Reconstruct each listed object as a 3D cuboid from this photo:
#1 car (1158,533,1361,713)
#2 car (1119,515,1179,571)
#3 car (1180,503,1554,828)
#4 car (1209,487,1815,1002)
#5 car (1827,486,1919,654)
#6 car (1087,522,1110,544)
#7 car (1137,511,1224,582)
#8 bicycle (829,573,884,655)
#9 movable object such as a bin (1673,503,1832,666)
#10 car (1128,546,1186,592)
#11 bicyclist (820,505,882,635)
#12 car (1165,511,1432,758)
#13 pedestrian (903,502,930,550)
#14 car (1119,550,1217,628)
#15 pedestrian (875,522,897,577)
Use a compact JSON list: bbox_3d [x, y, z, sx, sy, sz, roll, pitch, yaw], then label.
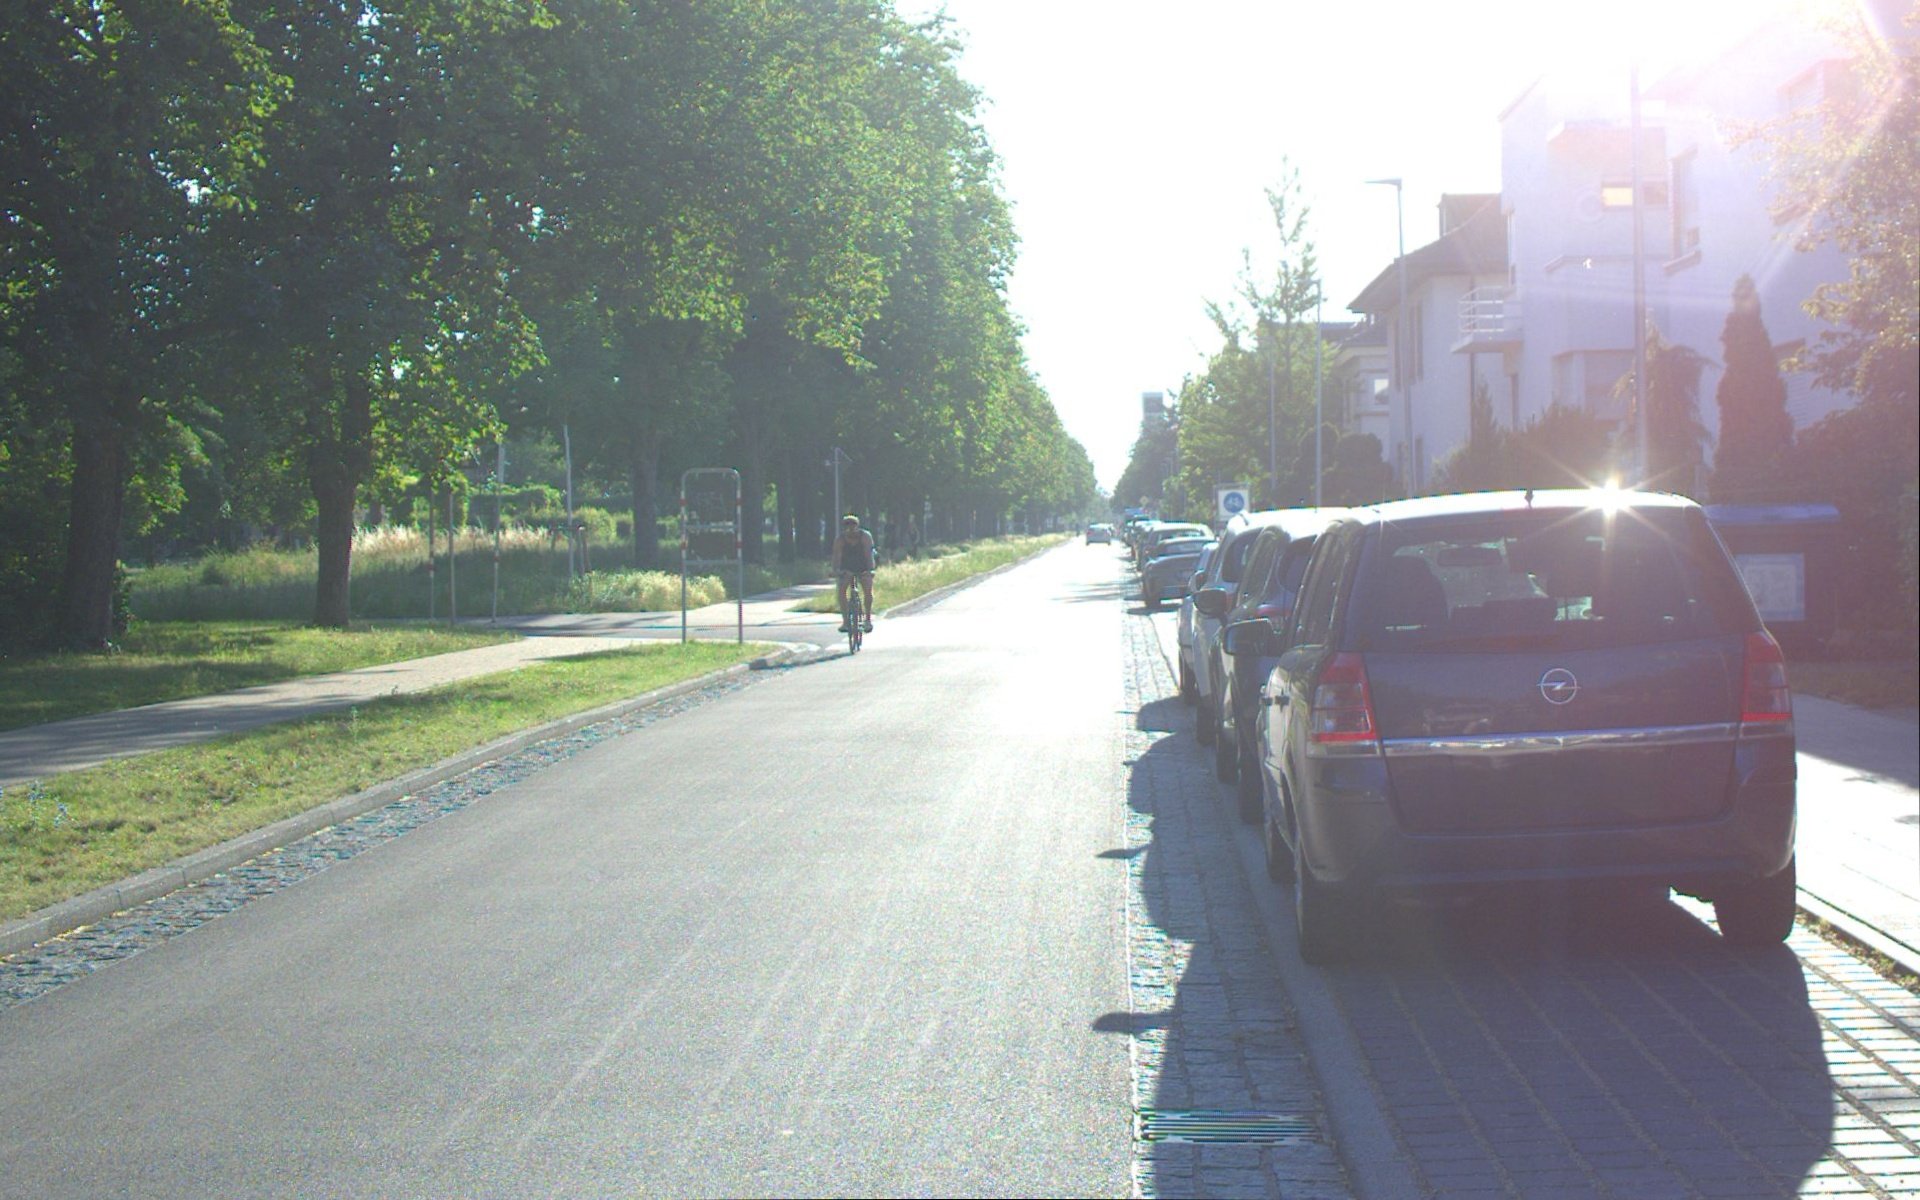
[{"bbox_3d":[2.547,0.146,29.975,1.564,1.385,4.374,-2,1,3],"label":"car"},{"bbox_3d":[5.444,-1.649,98.696,1.628,1.499,3.633,-3,2,3],"label":"car"},{"bbox_3d":[2.146,0.281,19.076,1.679,1.550,4.144,-2,1,2],"label":"car"},{"bbox_3d":[1.955,0.423,13.318,1.710,1.605,4.169,-3,1,2],"label":"car"},{"bbox_3d":[10.435,-0.309,34.042,3.495,1.636,1.642,0,1,11],"label":"car"},{"bbox_3d":[9.904,-4.813,245.626,1.652,1.536,3.266,0,1,3],"label":"car"},{"bbox_3d":[4.995,-1.237,78.188,1.744,1.469,3.922,-4,1,2],"label":"car"},{"bbox_3d":[-1.350,0.169,45.131,0.556,1.028,1.915,-2,1,2],"label":"bicycle"},{"bbox_3d":[7.101,-0.144,30.861,1.237,1.427,1.123,0,1,5],"label":"movable object such as a bin"},{"bbox_3d":[6.543,-1.040,114.688,1.736,1.444,4.197,-2,1,1],"label":"car"},{"bbox_3d":[-1.422,-0.393,45.099,0.681,1.667,1.172,-2,0,2],"label":"bicyclist"},{"bbox_3d":[2.339,0.179,24.474,1.679,1.550,4.130,-2,1,4],"label":"car"},{"bbox_3d":[-1.446,-2.480,115.267,0.783,1.609,0.951,0,1,6],"label":"pedestrian"},{"bbox_3d":[4.036,-0.236,66.851,1.775,1.284,4.272,-3,2,3],"label":"car"},{"bbox_3d":[-2.470,-1.699,115.220,0.624,1.824,0.886,0,1,6],"label":"pedestrian"}]
